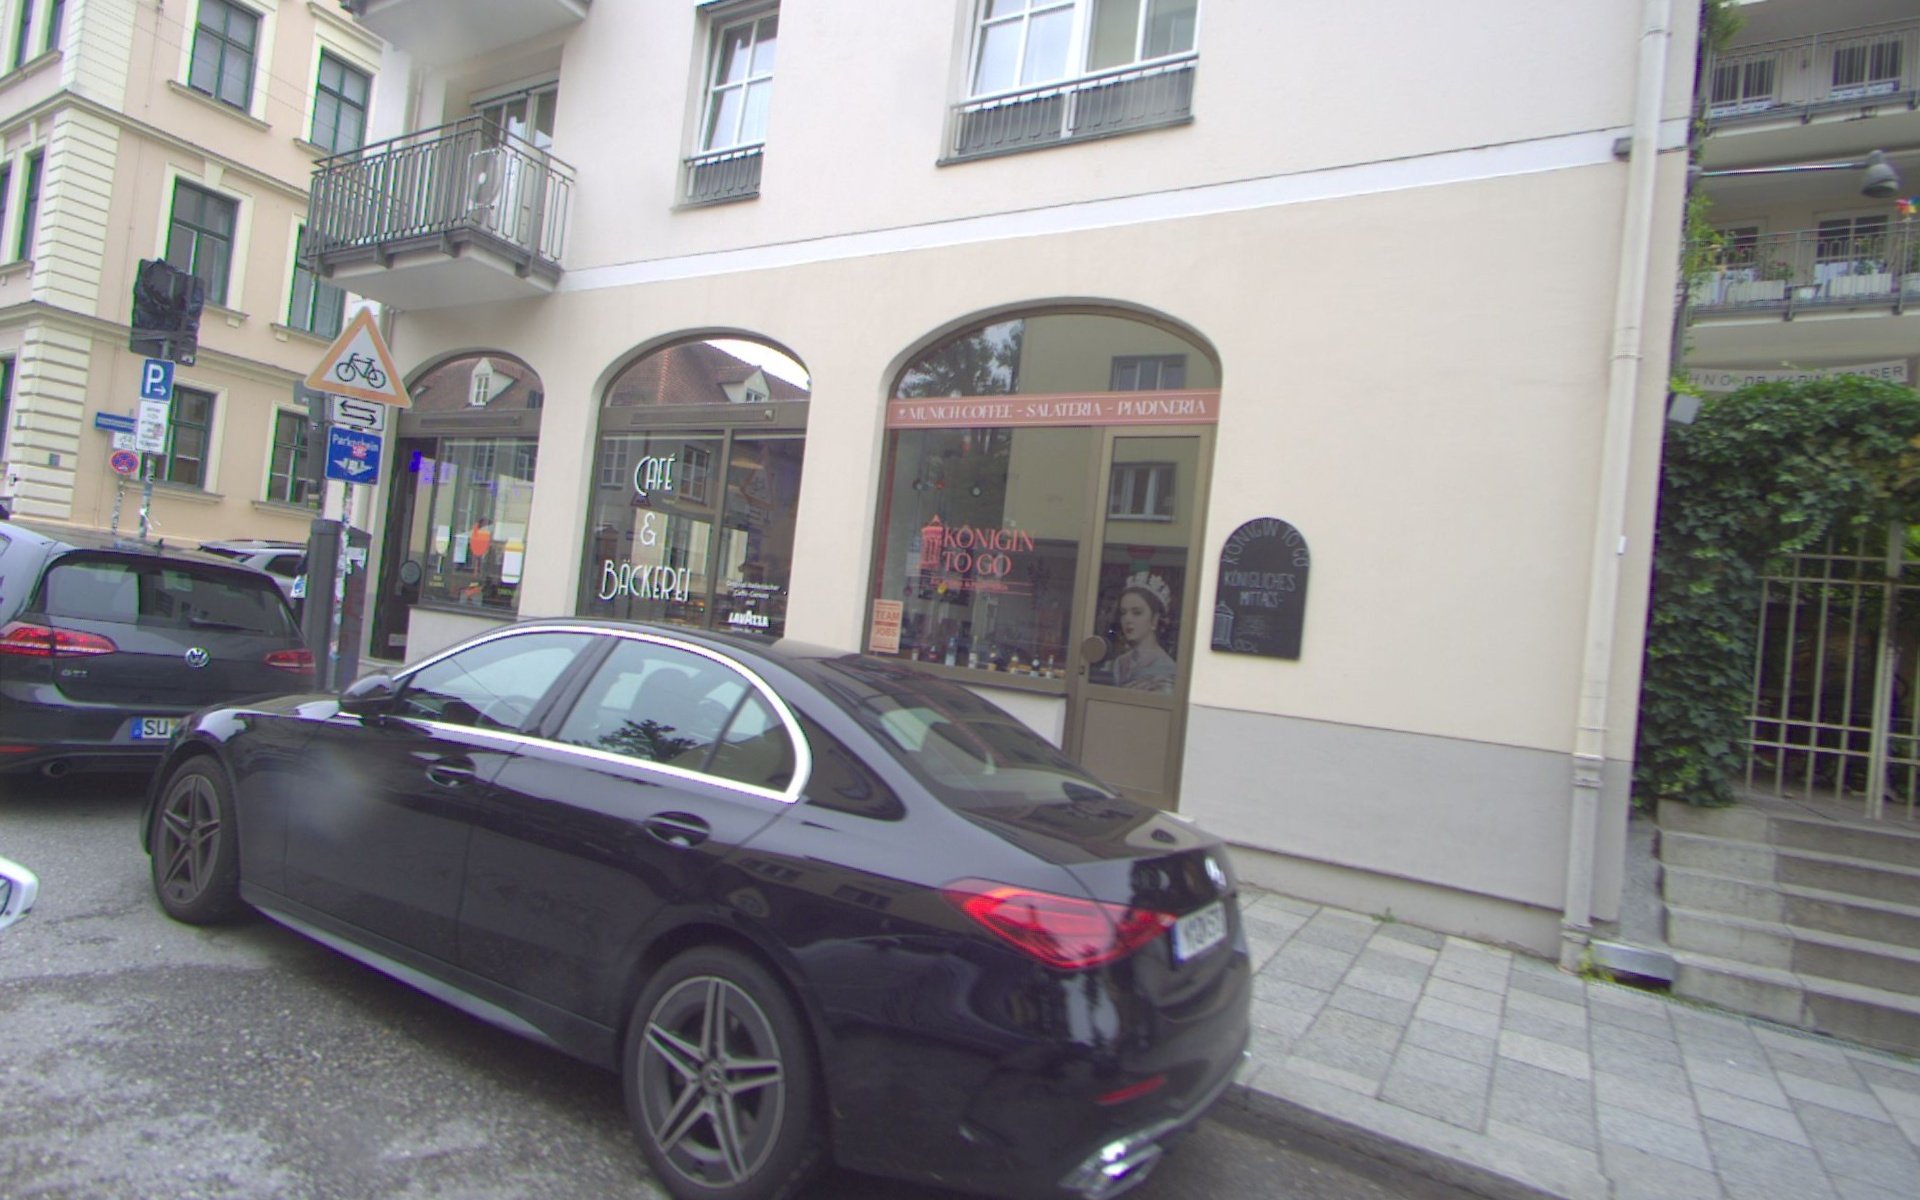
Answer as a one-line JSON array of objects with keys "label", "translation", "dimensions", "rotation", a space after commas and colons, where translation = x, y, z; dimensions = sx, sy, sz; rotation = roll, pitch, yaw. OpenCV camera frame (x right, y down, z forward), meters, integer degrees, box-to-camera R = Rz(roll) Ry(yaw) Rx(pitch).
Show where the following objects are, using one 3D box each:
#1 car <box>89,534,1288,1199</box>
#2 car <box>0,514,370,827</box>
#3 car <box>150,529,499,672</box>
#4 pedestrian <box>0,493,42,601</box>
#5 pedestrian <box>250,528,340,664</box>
[{"label": "car", "translation": [-1.259, 0.759, 3.866], "dimensions": [4.433, 1.440, 1.651], "rotation": [6, -4, 30]}, {"label": "car", "translation": [-5.852, 0.239, 6.326], "dimensions": [4.131, 1.440, 1.682], "rotation": [7, -4, 29]}, {"label": "car", "translation": [-9.553, 0.104, 15.496], "dimensions": [1.725, 1.624, 4.098], "rotation": [8, -1, 30]}, {"label": "pedestrian", "translation": [-16.212, -0.916, 16.935], "dimensions": [0.987, 1.737, 0.720], "rotation": [5, -2, 30]}, {"label": "pedestrian", "translation": [-8.538, -0.036, 12.927], "dimensions": [0.517, 1.666, 0.636], "rotation": [5, -2, 23]}]
